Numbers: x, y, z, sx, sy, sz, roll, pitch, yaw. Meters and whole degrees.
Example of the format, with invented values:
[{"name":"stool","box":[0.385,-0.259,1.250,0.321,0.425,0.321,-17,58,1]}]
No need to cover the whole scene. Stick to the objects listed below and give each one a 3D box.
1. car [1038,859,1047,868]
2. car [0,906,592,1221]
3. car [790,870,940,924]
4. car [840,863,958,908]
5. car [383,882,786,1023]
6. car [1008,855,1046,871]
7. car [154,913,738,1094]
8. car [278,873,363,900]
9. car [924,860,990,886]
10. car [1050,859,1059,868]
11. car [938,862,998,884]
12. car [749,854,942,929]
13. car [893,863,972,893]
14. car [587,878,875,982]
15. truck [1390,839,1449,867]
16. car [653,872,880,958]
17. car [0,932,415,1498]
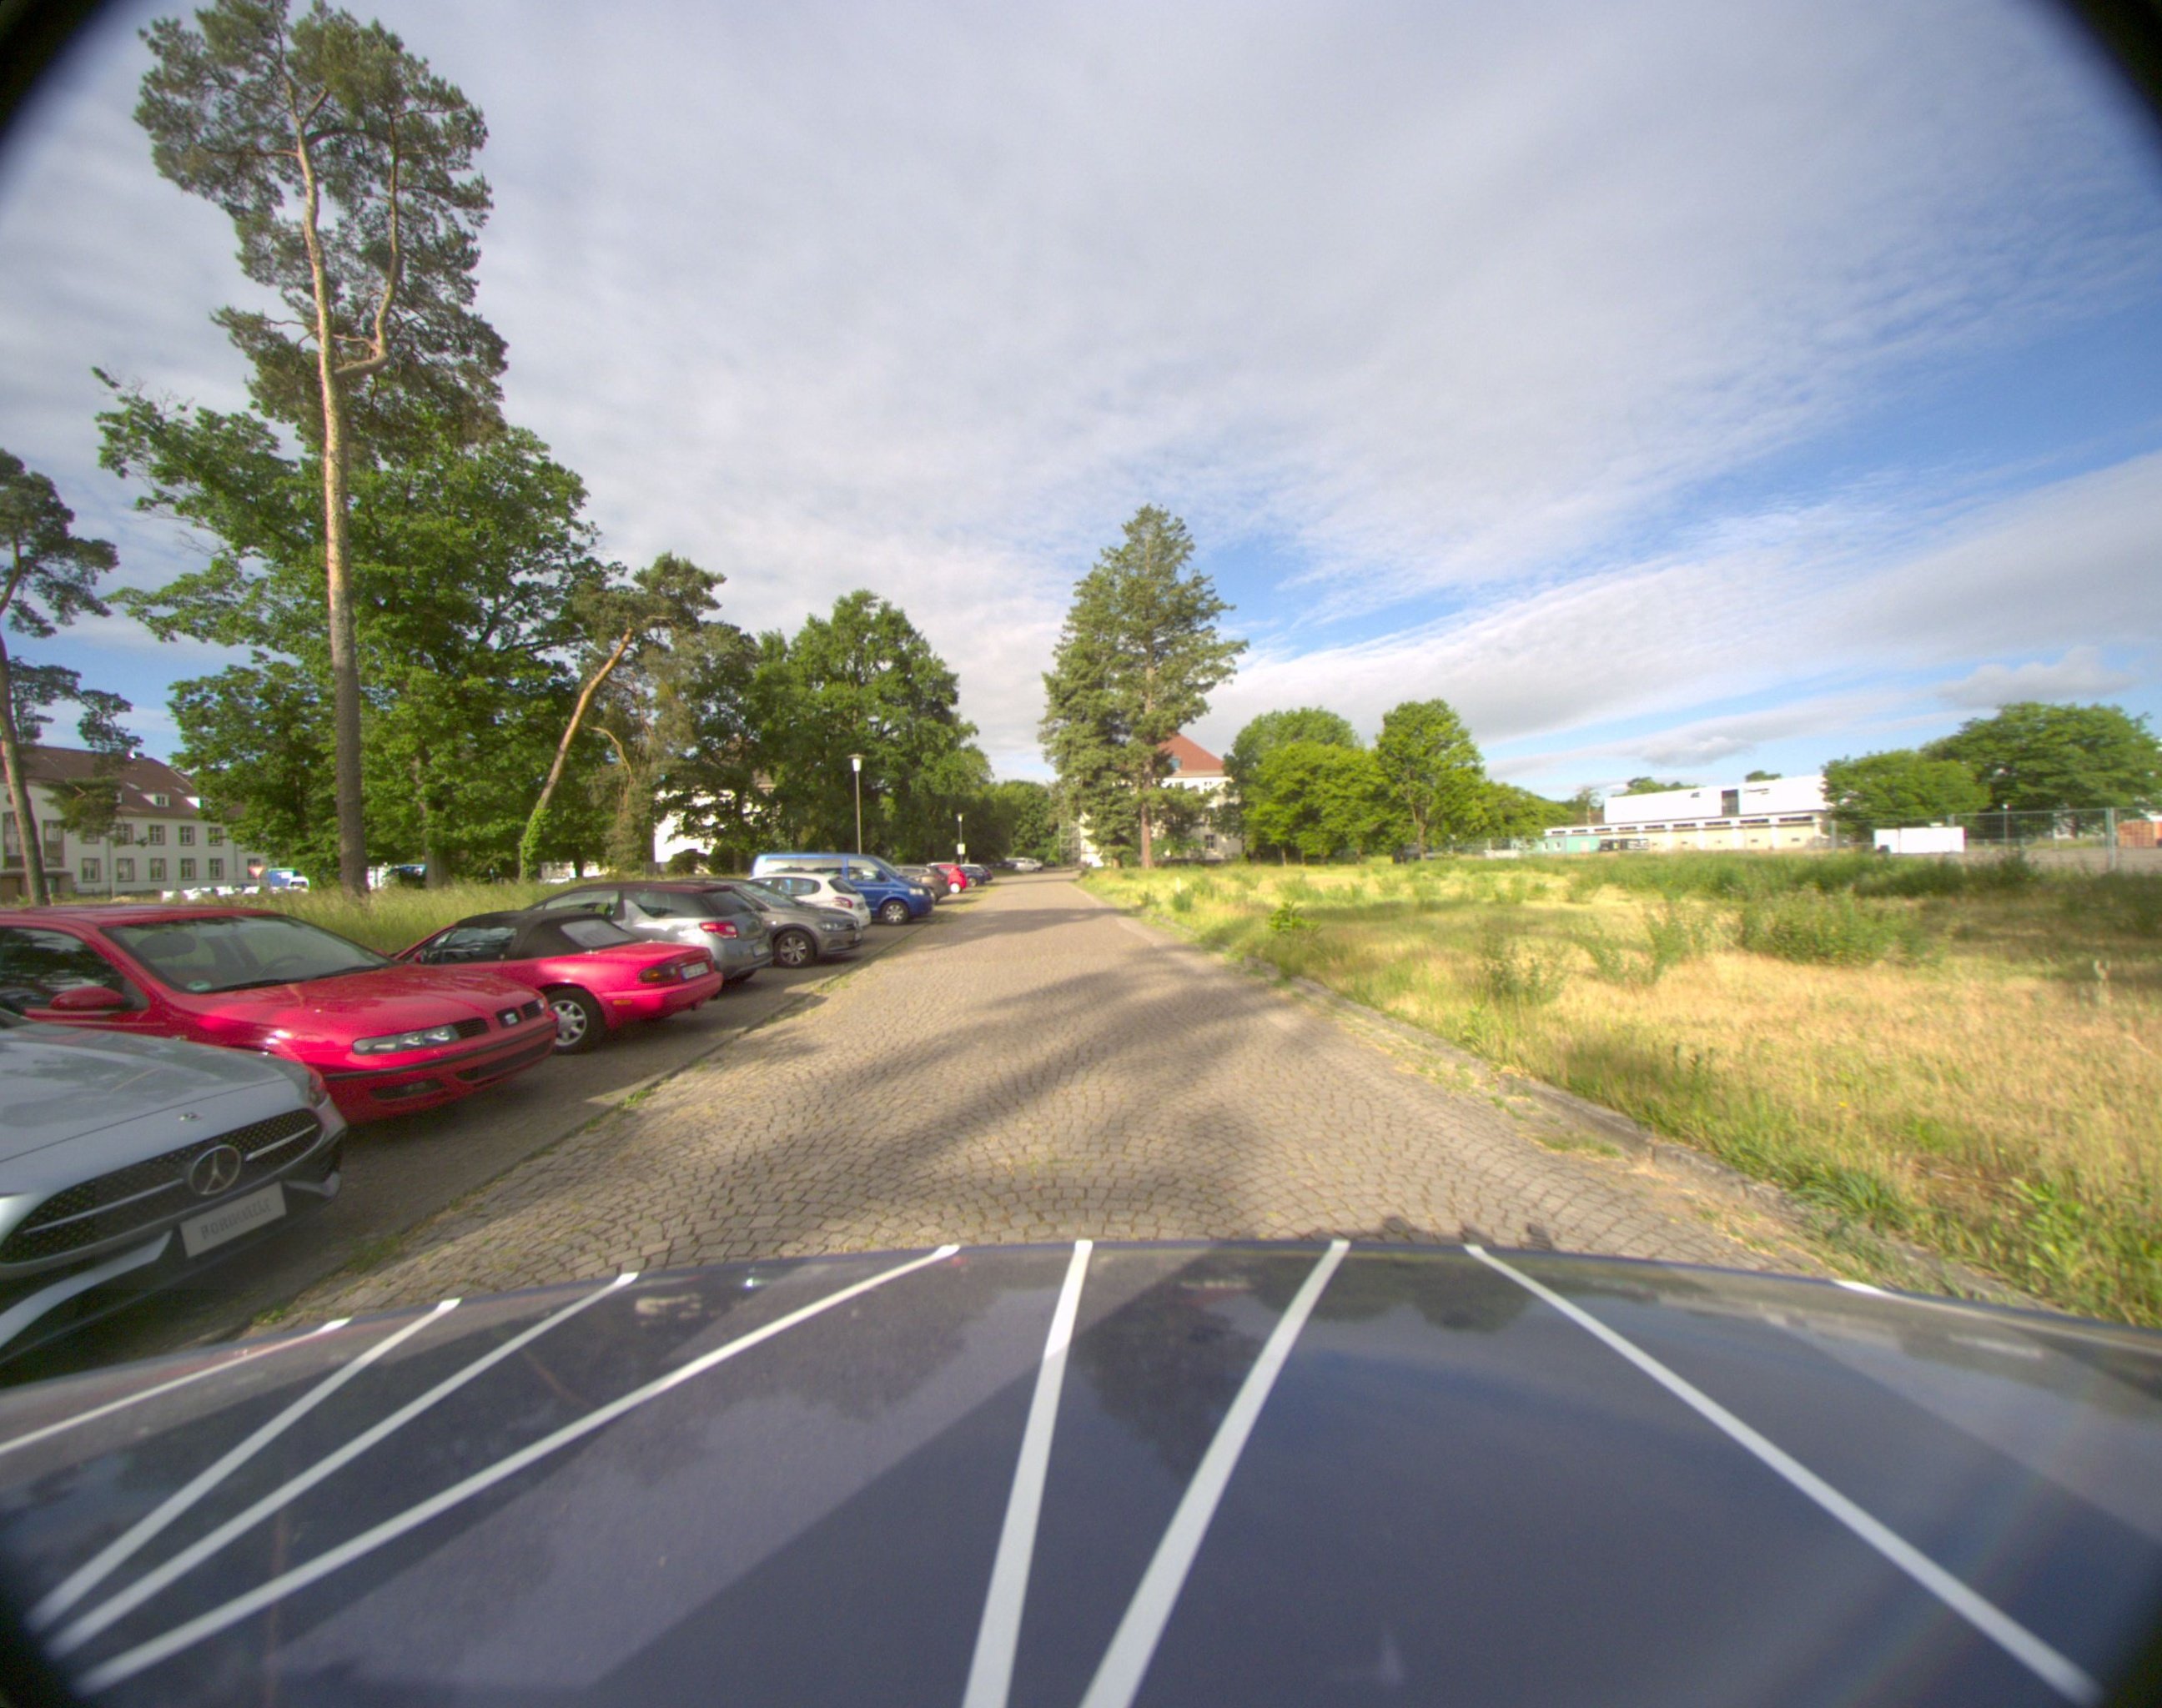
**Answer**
[{"name":"car","box":[-8.629,2.110,170.213,1.875,1.887,3.998,-2,1,-3]},{"name":"car","box":[-5.879,1.174,4.797,4.353,1.465,1.739,-1,1,-4]},{"name":"car","box":[-6.541,1.294,23.448,4.204,1.461,1.806,-1,1,-7]},{"name":"car","box":[-7.054,1.207,29.781,4.203,1.579,1.877,-1,1,-5]},{"name":"car","box":[-6.140,1.175,9.805,3.962,1.486,1.771,-1,1,-3]},{"name":"car","box":[-7.397,1.235,104.083,5.080,2.029,1.999,-2,0,-4]},{"name":"car","box":[-5.632,1.303,7.195,3.962,1.253,1.726,-1,1,-3]},{"name":"car","box":[-73.176,3.092,73.264,2.167,2.286,5.961,-1,0,-1]},{"name":"car","box":[-8.165,1.257,50.293,4.137,1.560,1.746,-1,1,-4]},{"name":"car","box":[-5.918,2.087,170.603,1.999,1.762,4.107,-2,1,-3]},{"name":"car","box":[-8.152,1.360,55.000,4.036,1.442,1.783,-1,1,-1]},{"name":"car","box":[-6.337,0.987,20.942,4.747,1.917,1.991,0,1,-4]},{"name":"car","box":[-7.750,1.266,40.017,3.888,1.464,1.686,-1,1,-5]},{"name":"car","box":[-5.681,1.207,12.762,3.962,1.459,1.830,-1,1,-3]},{"name":"truck","box":[32.694,-0.054,73.665,2.418,2.571,6.958,-2,0,-1]},{"name":"car","box":[-6.305,1.196,15.585,3.885,1.521,1.807,-1,1,-3]},{"name":"car","box":[-5.398,1.145,2.553,4.519,1.465,1.849,-1,1,-4]}]
